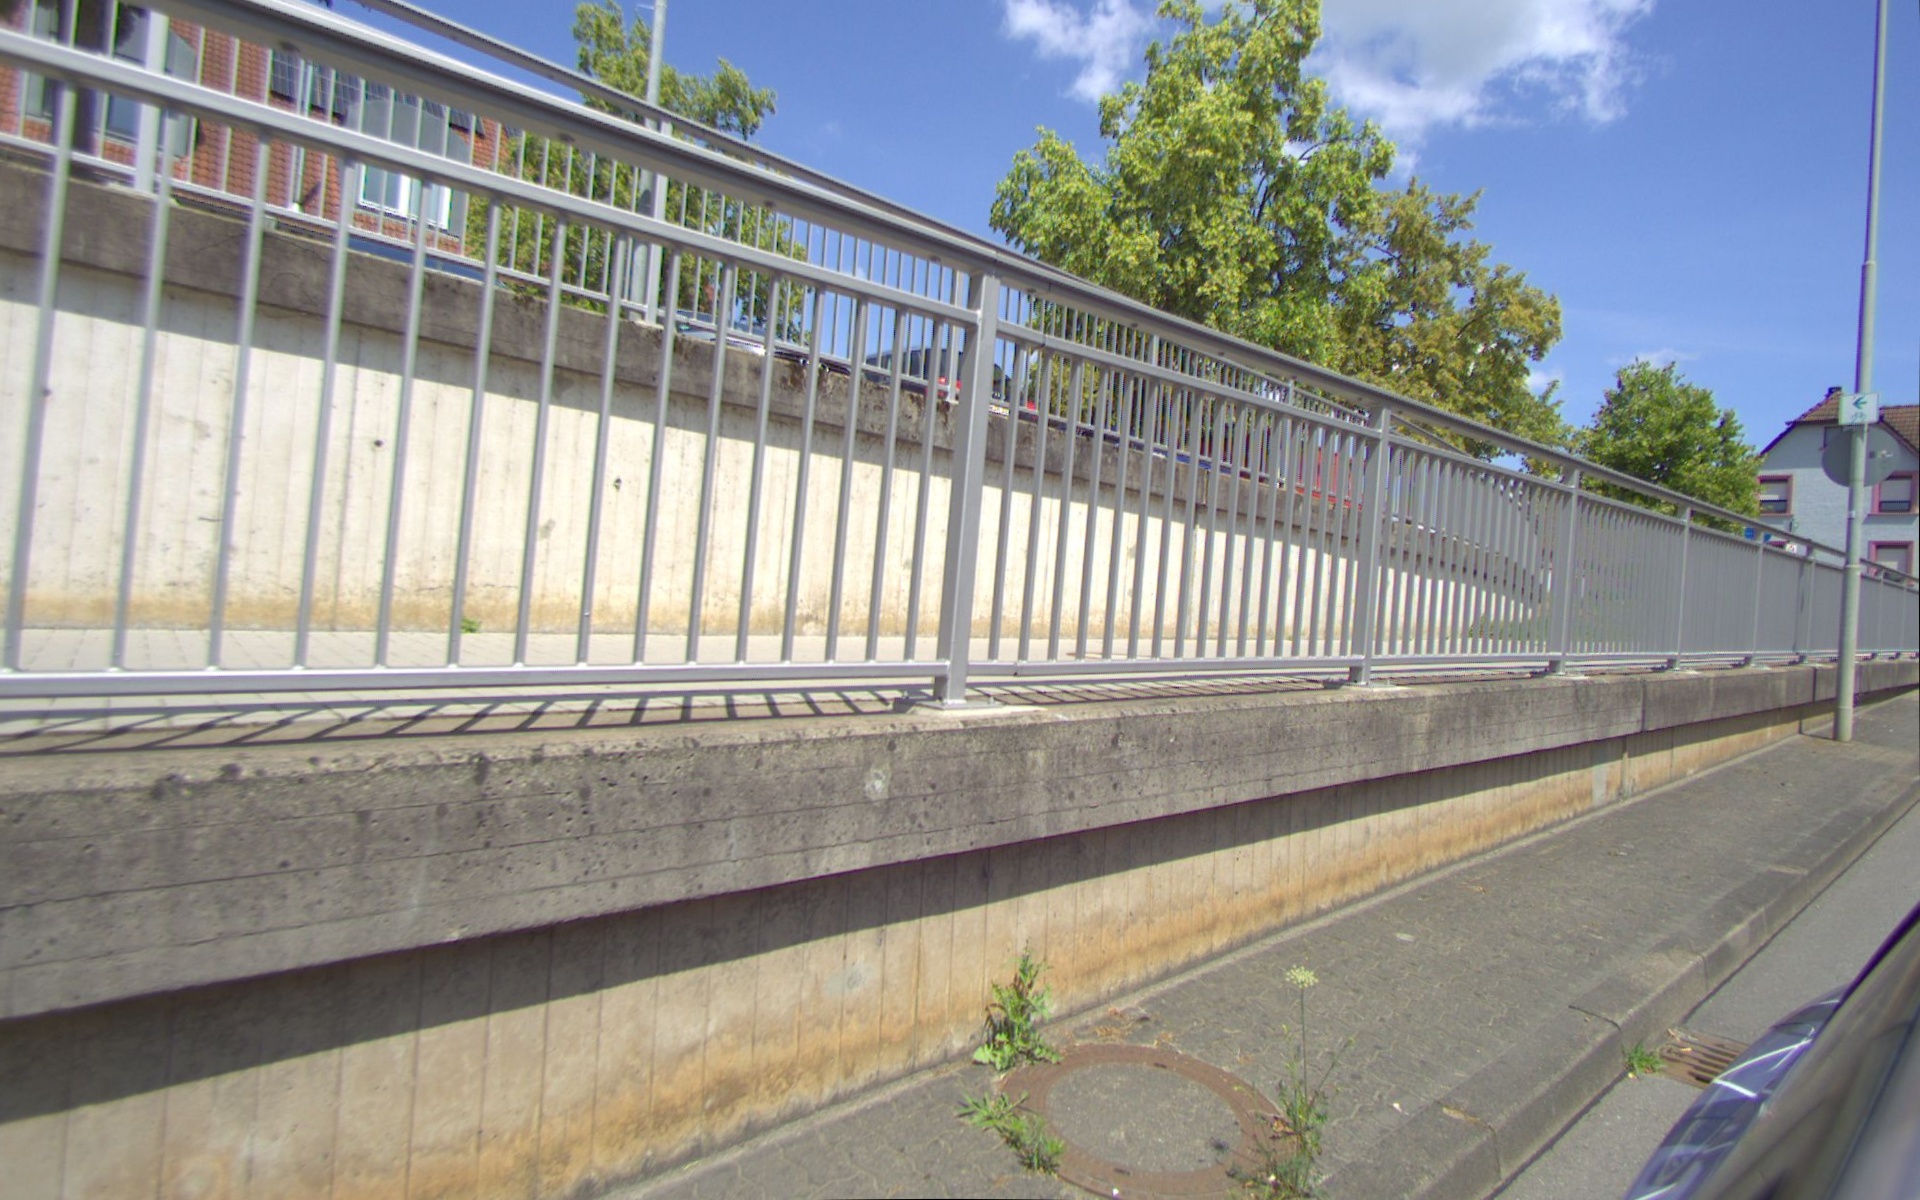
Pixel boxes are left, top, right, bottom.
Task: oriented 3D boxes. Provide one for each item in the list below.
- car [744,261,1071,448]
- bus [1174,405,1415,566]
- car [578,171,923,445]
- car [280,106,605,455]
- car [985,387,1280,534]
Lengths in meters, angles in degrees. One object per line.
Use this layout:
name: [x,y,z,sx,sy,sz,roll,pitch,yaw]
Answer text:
car: [-0.769,-2.654,11.755,1.740,1.323,3.998,2,2,-39]
bus: [6.923,-2.158,20.620,5.269,2.396,2.193,5,-1,-42]
car: [-2.222,-2.570,9.880,1.692,1.446,3.998,4,-1,-37]
car: [-4.404,-2.251,8.276,1.692,1.575,3.998,1,0,-37]
car: [2.482,-1.935,15.081,3.983,1.650,1.835,0,0,41]
